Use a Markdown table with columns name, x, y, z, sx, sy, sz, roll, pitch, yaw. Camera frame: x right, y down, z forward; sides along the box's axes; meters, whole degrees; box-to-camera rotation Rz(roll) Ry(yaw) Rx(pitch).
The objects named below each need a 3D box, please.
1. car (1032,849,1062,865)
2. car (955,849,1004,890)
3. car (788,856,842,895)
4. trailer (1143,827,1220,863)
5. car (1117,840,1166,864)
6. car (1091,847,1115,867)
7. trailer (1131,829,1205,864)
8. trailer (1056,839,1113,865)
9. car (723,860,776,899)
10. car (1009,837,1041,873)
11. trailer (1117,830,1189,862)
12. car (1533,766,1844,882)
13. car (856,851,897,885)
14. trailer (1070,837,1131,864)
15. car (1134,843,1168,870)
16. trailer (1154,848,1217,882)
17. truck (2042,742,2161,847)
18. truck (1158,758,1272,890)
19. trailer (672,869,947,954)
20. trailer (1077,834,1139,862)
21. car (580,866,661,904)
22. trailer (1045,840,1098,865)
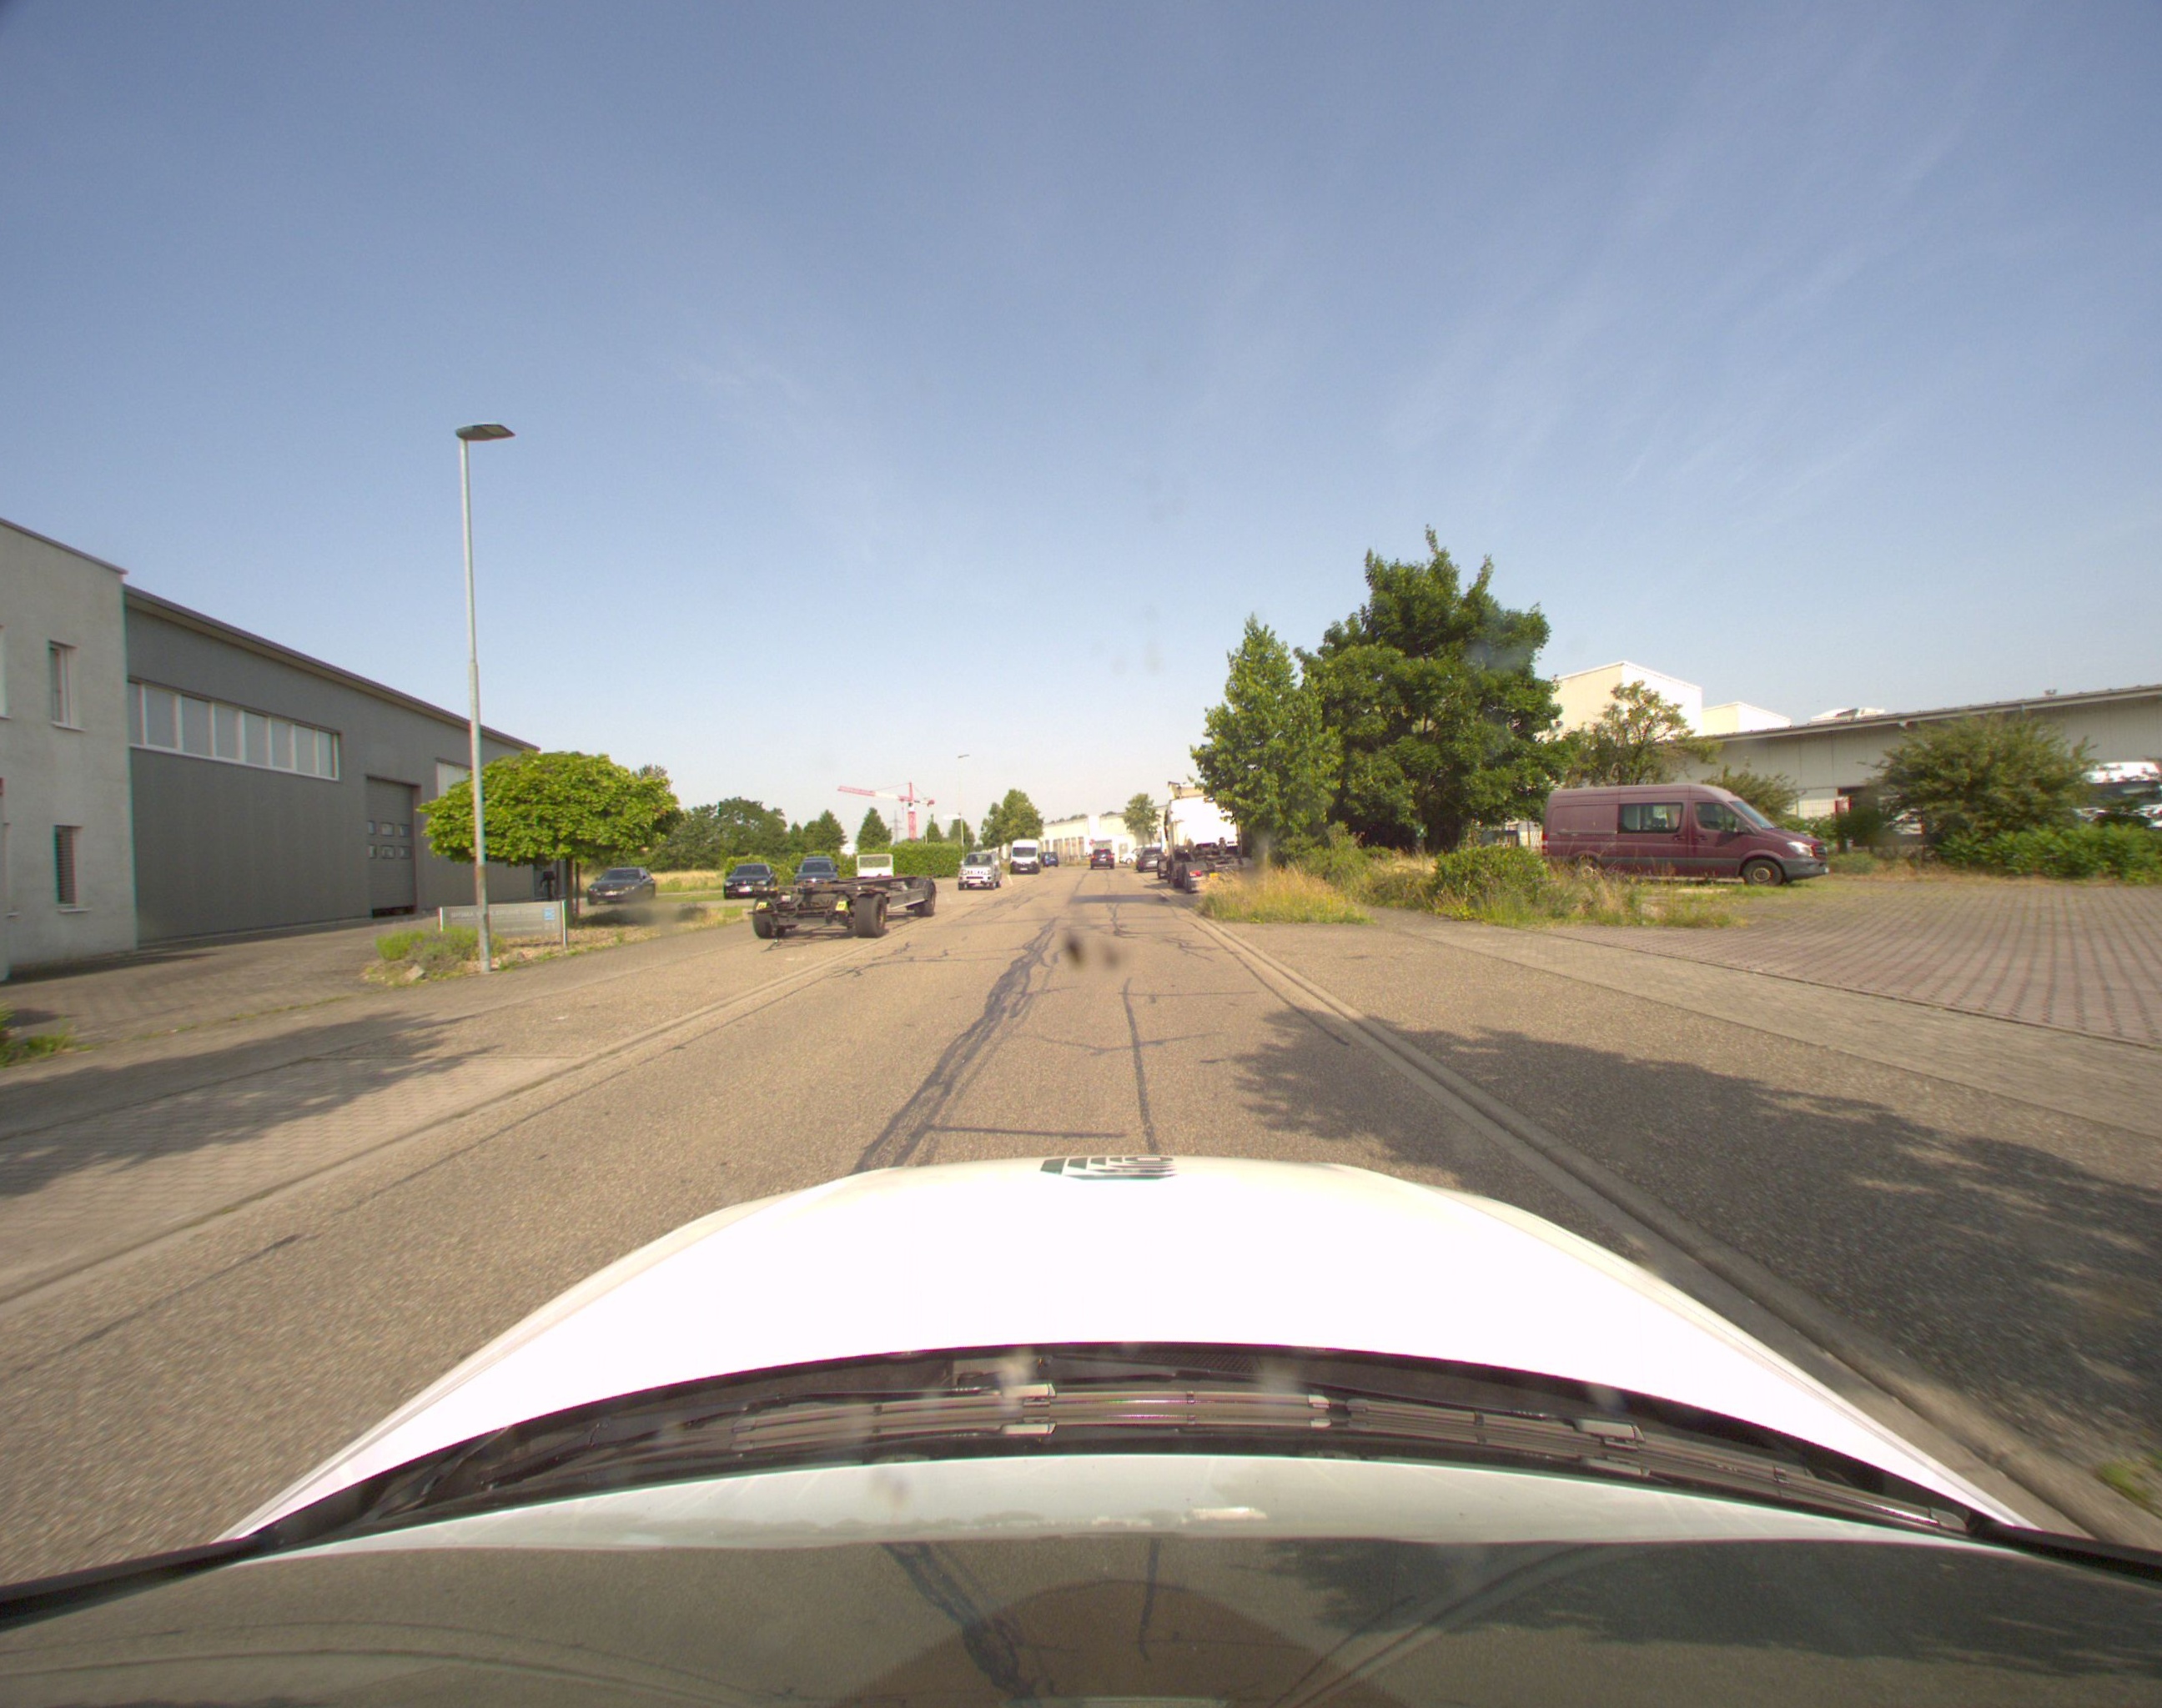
| name | x | y | z | sx | sy | sz | roll | pitch | yaw |
| --- | --- | --- | --- | --- | --- | --- | --- | --- | --- |
| car | -3.560 | 0.343 | 84.640 | 1.974 | 1.574 | 4.088 | -2 | -1 | -18 |
| car | -4.541 | 0.659 | 36.747 | 1.591 | 1.651 | 3.645 | -2 | 0 | 1 |
| car | -11.322 | 0.880 | 34.885 | 1.980 | 1.476 | 4.397 | -2 | 0 | -16 |
| trailer | 11.968 | -1.104 | 96.920 | 8.566 | 3.894 | 2.756 | -2 | -3 | -20 |
| car | 5.952 | -0.200 | 80.731 | 4.596 | 2.110 | 2.127 | -3 | -1 | -1 |
| car | 1.772 | 0.240 | 66.285 | 1.874 | 1.586 | 4.114 | 0 | -1 | 1 |
| trailer | 10.702 | -0.966 | 100.178 | 8.568 | 3.893 | 2.756 | -3 | 0 | -21 |
| trailer | 0.533 | -0.315 | 124.623 | 8.342 | 3.894 | 2.755 | 0 | 0 | -23 |
| car | -13.828 | 1.010 | 34.143 | 1.684 | 1.476 | 4.324 | -2 | 0 | -18 |
| car | -4.146 | 0.051 | 61.369 | 2.096 | 2.595 | 6.500 | 0 | 0 | -1 |
| trailer | 9.160 | -1.059 | 103.910 | 8.768 | 3.761 | 2.770 | -2 | -1 | -23 |
| car | 15.353 | -0.642 | 20.957 | 2.588 | 2.525 | 5.977 | 0 | 0 | -40 |
| car | -10.146 | 0.688 | 40.313 | 1.837 | 1.572 | 3.796 | -1 | 0 | -15 |
| trailer | 2.873 | -0.479 | 119.078 | 8.571 | 3.894 | 2.755 | 0 | 0 | -23 |
| car | 4.466 | 0.187 | 52.550 | 1.874 | 1.574 | 4.114 | -4 | -1 | 1 |
| trailer | 4.501 | 0.416 | 36.238 | 1.931 | 1.235 | 7.453 | -4 | 0 | 1 |
| truck | 32.857 | -1.729 | 25.896 | 8.805 | 2.840 | 2.758 | -1 | -1 | -40 |
| truck | 4.515 | -0.948 | 28.659 | 2.684 | 3.964 | 6.046 | -5 | 0 | 0 |
| trailer | -5.149 | 1.007 | 17.890 | 2.536 | 1.074 | 9.735 | -1 | 0 | 1 |
| trailer | 3.856 | -0.840 | 116.012 | 8.571 | 3.894 | 2.755 | 0 | 0 | -23 |
| car | -18.557 | 1.201 | 33.041 | 1.995 | 1.324 | 4.324 | -2 | 0 | -18 |
| trailer | -1.519 | -0.283 | 131.235 | 7.996 | 3.894 | 2.755 | 0 | 0 | -23 |
